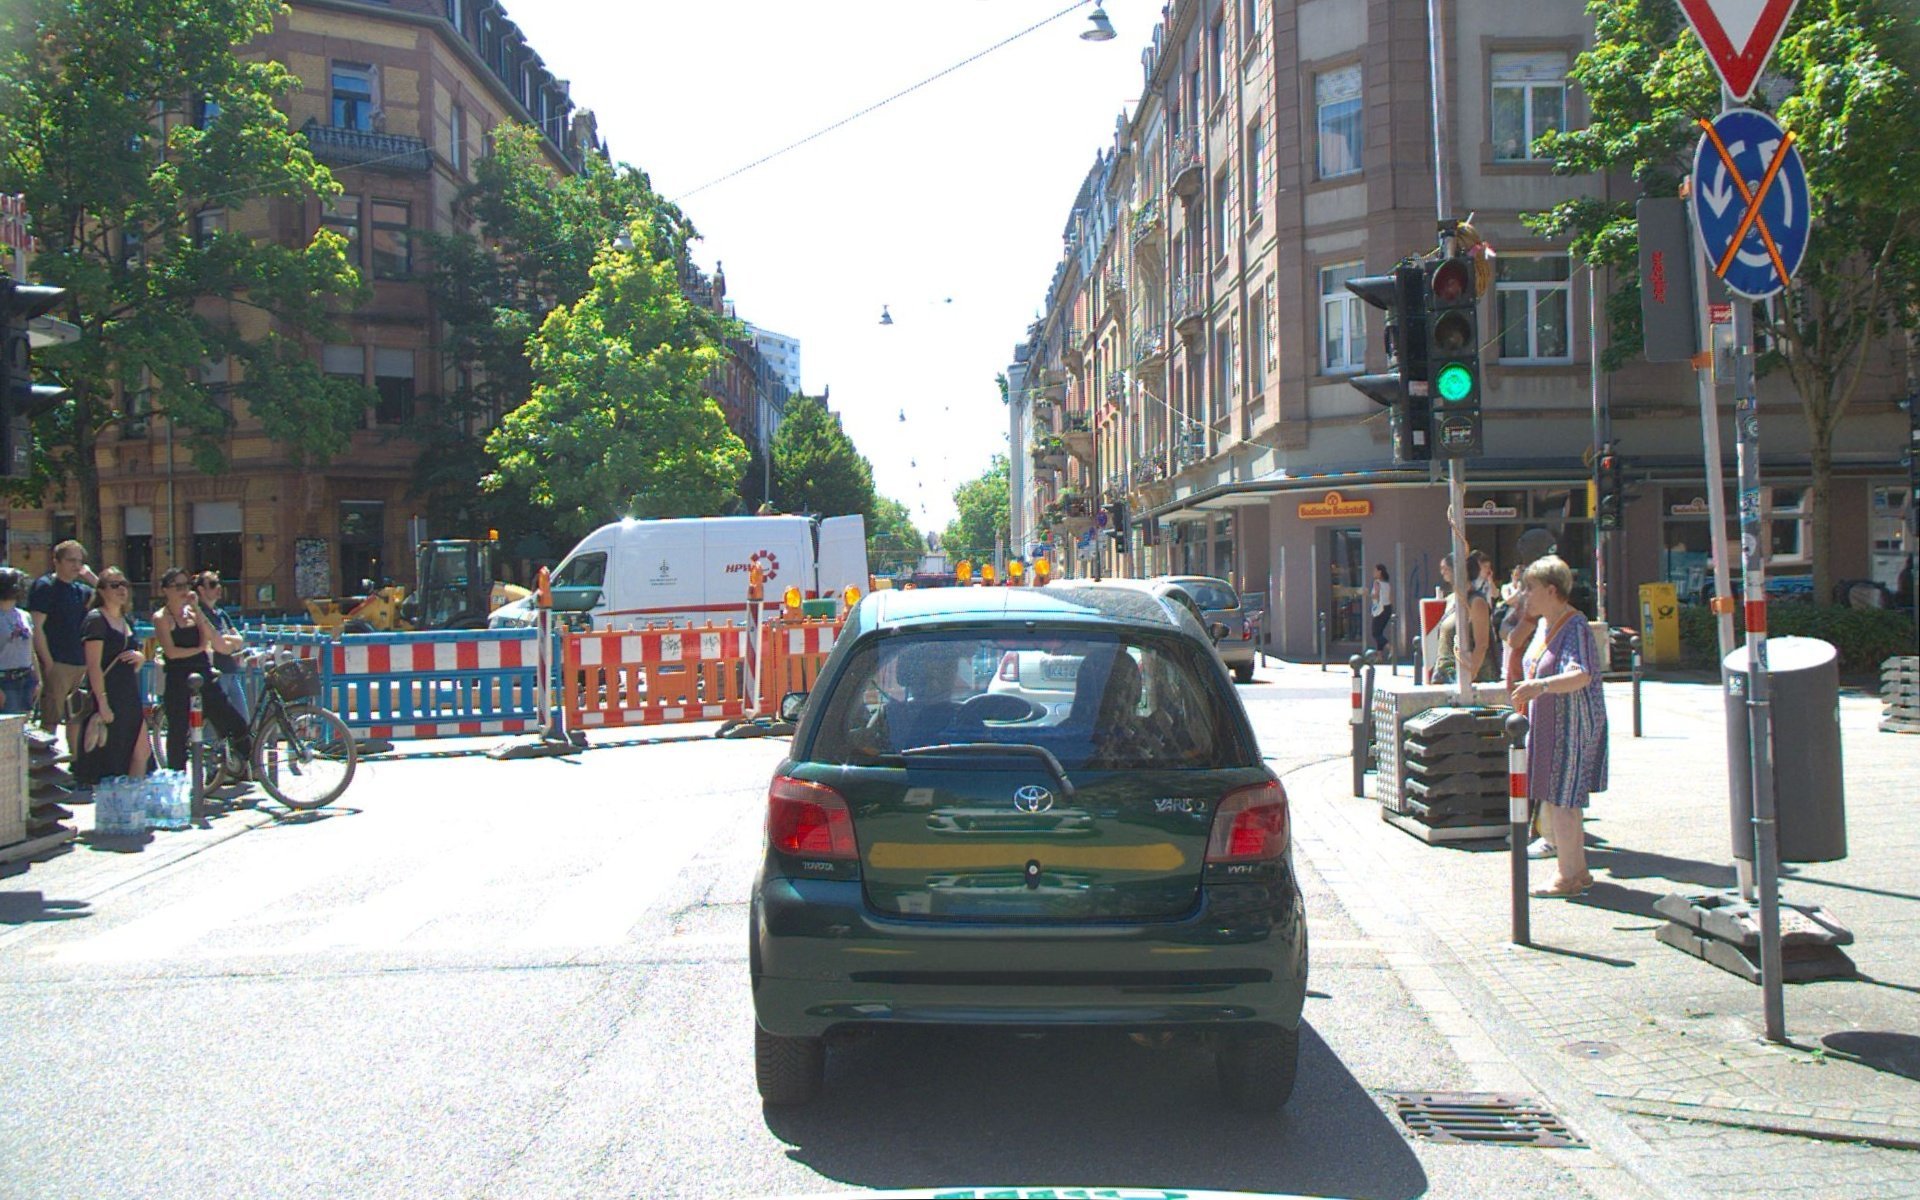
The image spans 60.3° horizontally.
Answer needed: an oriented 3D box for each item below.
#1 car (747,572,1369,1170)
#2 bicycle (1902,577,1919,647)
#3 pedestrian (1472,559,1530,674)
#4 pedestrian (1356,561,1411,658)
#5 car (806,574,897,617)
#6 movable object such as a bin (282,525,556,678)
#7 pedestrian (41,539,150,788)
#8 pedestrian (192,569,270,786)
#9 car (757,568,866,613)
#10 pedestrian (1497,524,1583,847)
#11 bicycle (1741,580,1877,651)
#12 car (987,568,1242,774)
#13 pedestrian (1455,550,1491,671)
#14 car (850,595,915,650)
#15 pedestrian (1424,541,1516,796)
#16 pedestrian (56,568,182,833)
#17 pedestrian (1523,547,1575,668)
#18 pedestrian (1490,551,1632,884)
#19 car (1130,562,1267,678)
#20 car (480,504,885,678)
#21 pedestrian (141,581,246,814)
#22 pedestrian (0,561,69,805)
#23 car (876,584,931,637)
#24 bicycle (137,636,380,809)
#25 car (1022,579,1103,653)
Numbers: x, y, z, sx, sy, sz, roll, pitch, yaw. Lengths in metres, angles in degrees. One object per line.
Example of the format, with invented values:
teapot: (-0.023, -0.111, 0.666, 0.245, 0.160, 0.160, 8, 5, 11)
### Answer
car: (0.320, 0.664, 5.844, 1.580, 1.511, 3.242, 0, 1, 3)
bicycle: (16.133, 0.171, 26.637, 1.726, 1.099, 0.470, -1, 2, -5)
pedestrian: (8.249, 0.243, 25.230, 0.688, 1.673, 0.422, -3, 4, -9)
pedestrian: (7.351, 0.164, 28.706, 0.785, 1.652, 0.643, -1, 0, 25)
car: (-5.916, -0.258, 90.193, 4.506, 2.226, 1.982, -1, 0, -28)
movable object such as a bin: (-9.965, 0.024, 30.745, 4.452, 2.705, 1.954, 1, 0, -3)
pedestrian: (-6.597, 0.471, 12.636, 0.499, 1.851, 0.599, -1, 0, -3)
pedestrian: (-5.663, 0.591, 12.858, 0.382, 1.646, 0.475, -1, 0, -3)
car: (-6.962, -0.476, 77.777, 4.723, 2.029, 2.033, -1, 0, -30)
pedestrian: (3.134, 0.453, 8.951, 0.325, 1.705, 0.402, -1, 0, 5)
bicycle: (14.161, 0.262, 27.631, 1.938, 1.152, 0.517, -1, 0, 17)
car: (1.433, 0.517, 14.248, 1.490, 1.547, 3.265, -1, 1, 18)
pedestrian: (7.605, 0.158, 24.512, 0.467, 1.763, 0.872, -1, -1, 18)
car: (-2.218, 0.627, 48.227, 1.719, 1.469, 4.000, -2, 0, -1)
pedestrian: (3.254, 0.425, 10.580, 0.450, 1.587, 0.479, -1, 0, 5)
pedestrian: (-5.416, 0.630, 10.674, 0.530, 1.661, 0.511, -1, 0, -3)
pedestrian: (9.060, 0.113, 25.437, 0.564, 1.799, 0.471, -3, 4, -9)
pedestrian: (2.947, 0.563, 8.136, 0.482, 1.570, 0.437, -3, 0, 5)
car: (3.560, 0.264, 25.154, 1.492, 1.620, 3.263, -1, 1, -2)
car: (-4.615, -0.152, 28.359, 6.485, 2.799, 2.380, 1, 0, 0)
pedestrian: (-5.403, 0.664, 11.667, 0.486, 1.593, 0.459, 1, 1, 25)
pedestrian: (-6.644, 0.566, 11.559, 0.499, 1.661, 0.599, -1, 0, -3)
car: (-1.954, 0.340, 58.025, 1.719, 1.673, 4.377, -4, 0, -1)
bicycle: (-5.045, 0.854, 11.876, 1.767, 1.139, 0.468, 1, 1, 21)
car: (2.277, 0.311, 36.105, 1.593, 1.457, 3.663, -2, 0, 6)
